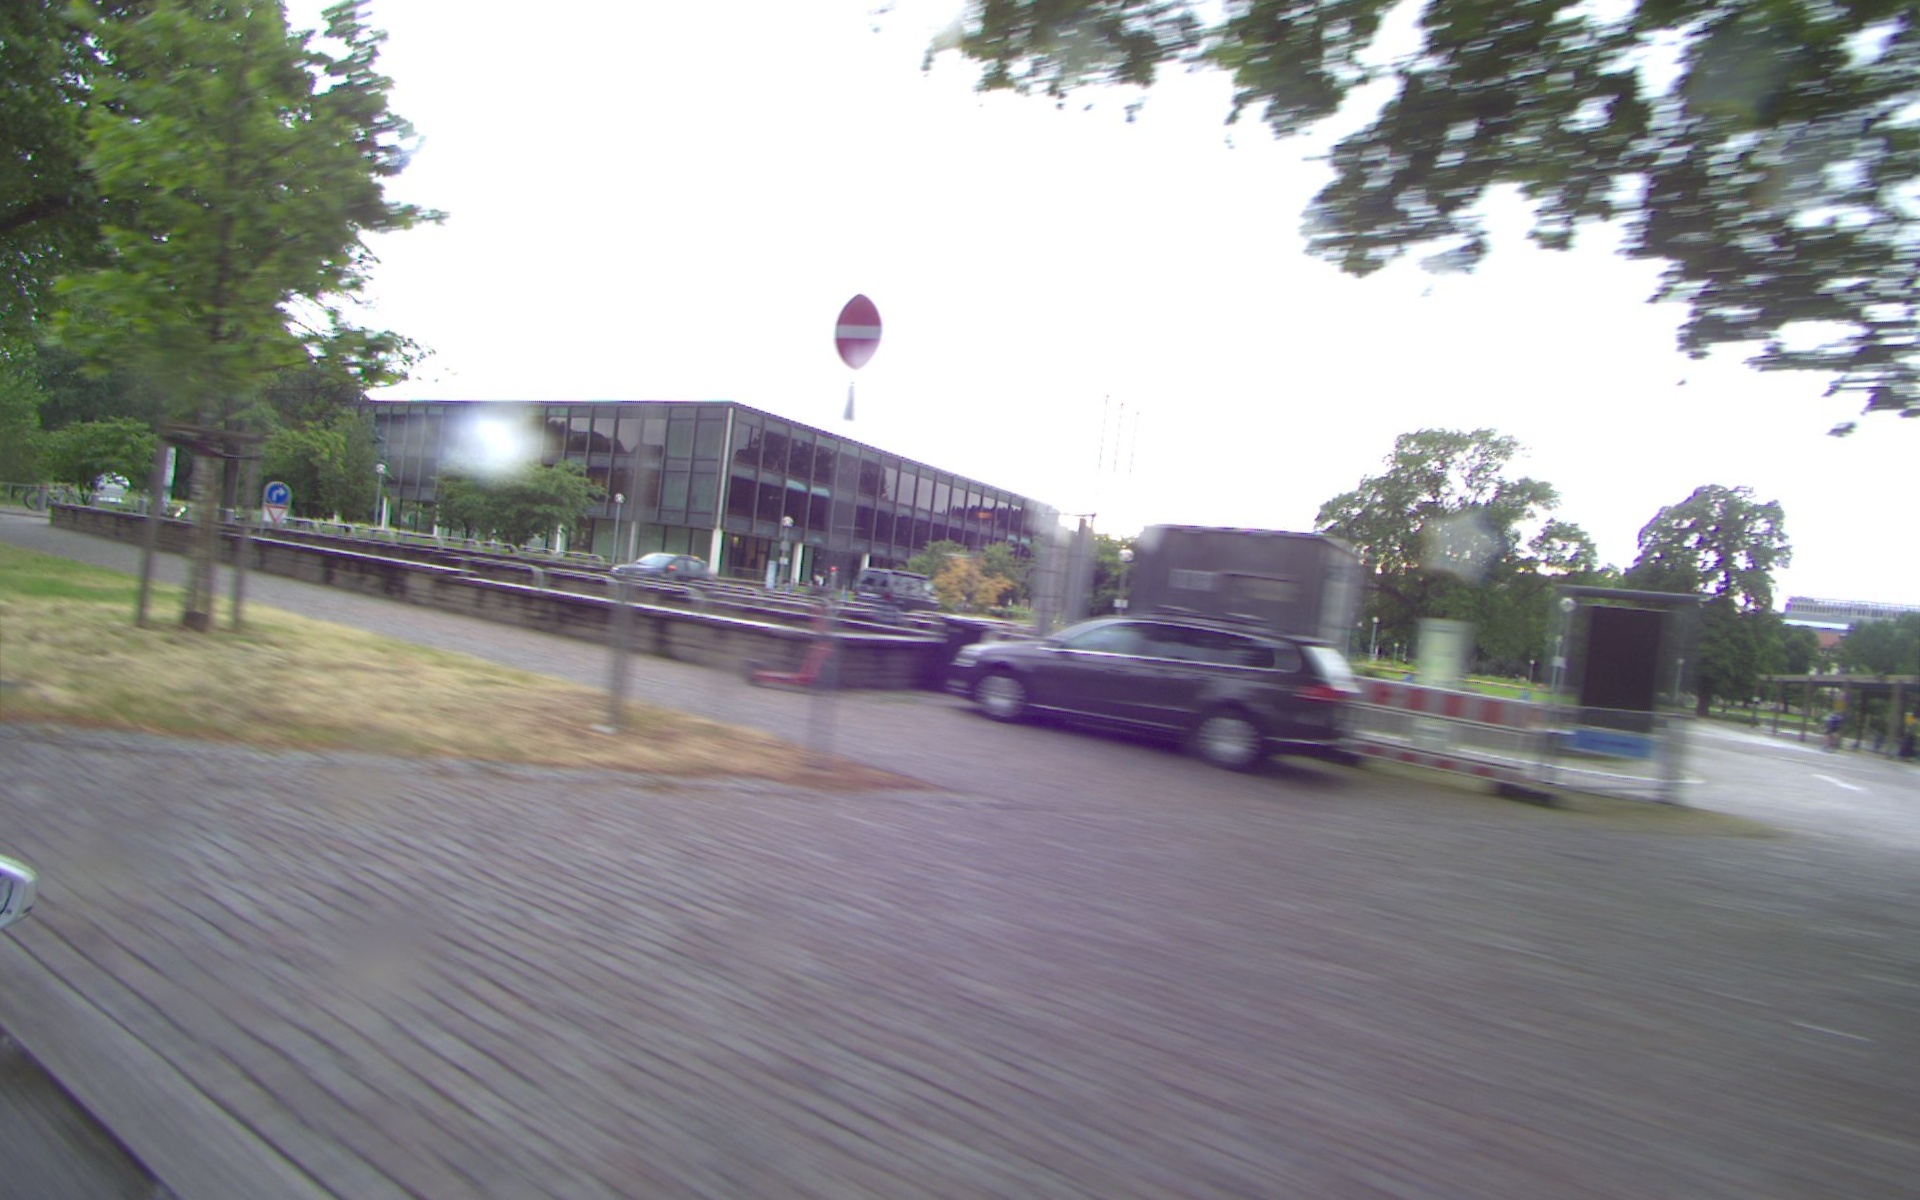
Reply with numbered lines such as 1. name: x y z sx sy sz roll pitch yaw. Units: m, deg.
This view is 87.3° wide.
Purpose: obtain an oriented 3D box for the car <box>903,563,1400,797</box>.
1. car: 2.111 0.775 11.689 5.147 1.630 1.996 9 2 30

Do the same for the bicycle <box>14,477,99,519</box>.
1. bicycle: -32.903 -3.705 36.662 0.942 1.189 2.039 8 2 22

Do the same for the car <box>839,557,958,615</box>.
1. car: -2.432 -0.544 41.294 2.418 1.786 5.014 8 1 29

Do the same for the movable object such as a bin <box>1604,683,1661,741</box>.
1. movable object such as a bin: 20.079 3.318 30.053 1.229 1.476 1.489 7 3 34

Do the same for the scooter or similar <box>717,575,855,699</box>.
1. scooter or similar: -2.043 0.421 11.900 1.411 1.272 0.543 7 3 0

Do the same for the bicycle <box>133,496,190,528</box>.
1. bicycle: -33.552 -3.681 42.288 0.697 1.100 1.644 9 2 27

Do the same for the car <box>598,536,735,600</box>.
1. car: -9.330 -0.983 32.223 1.630 1.621 3.986 8 2 34
